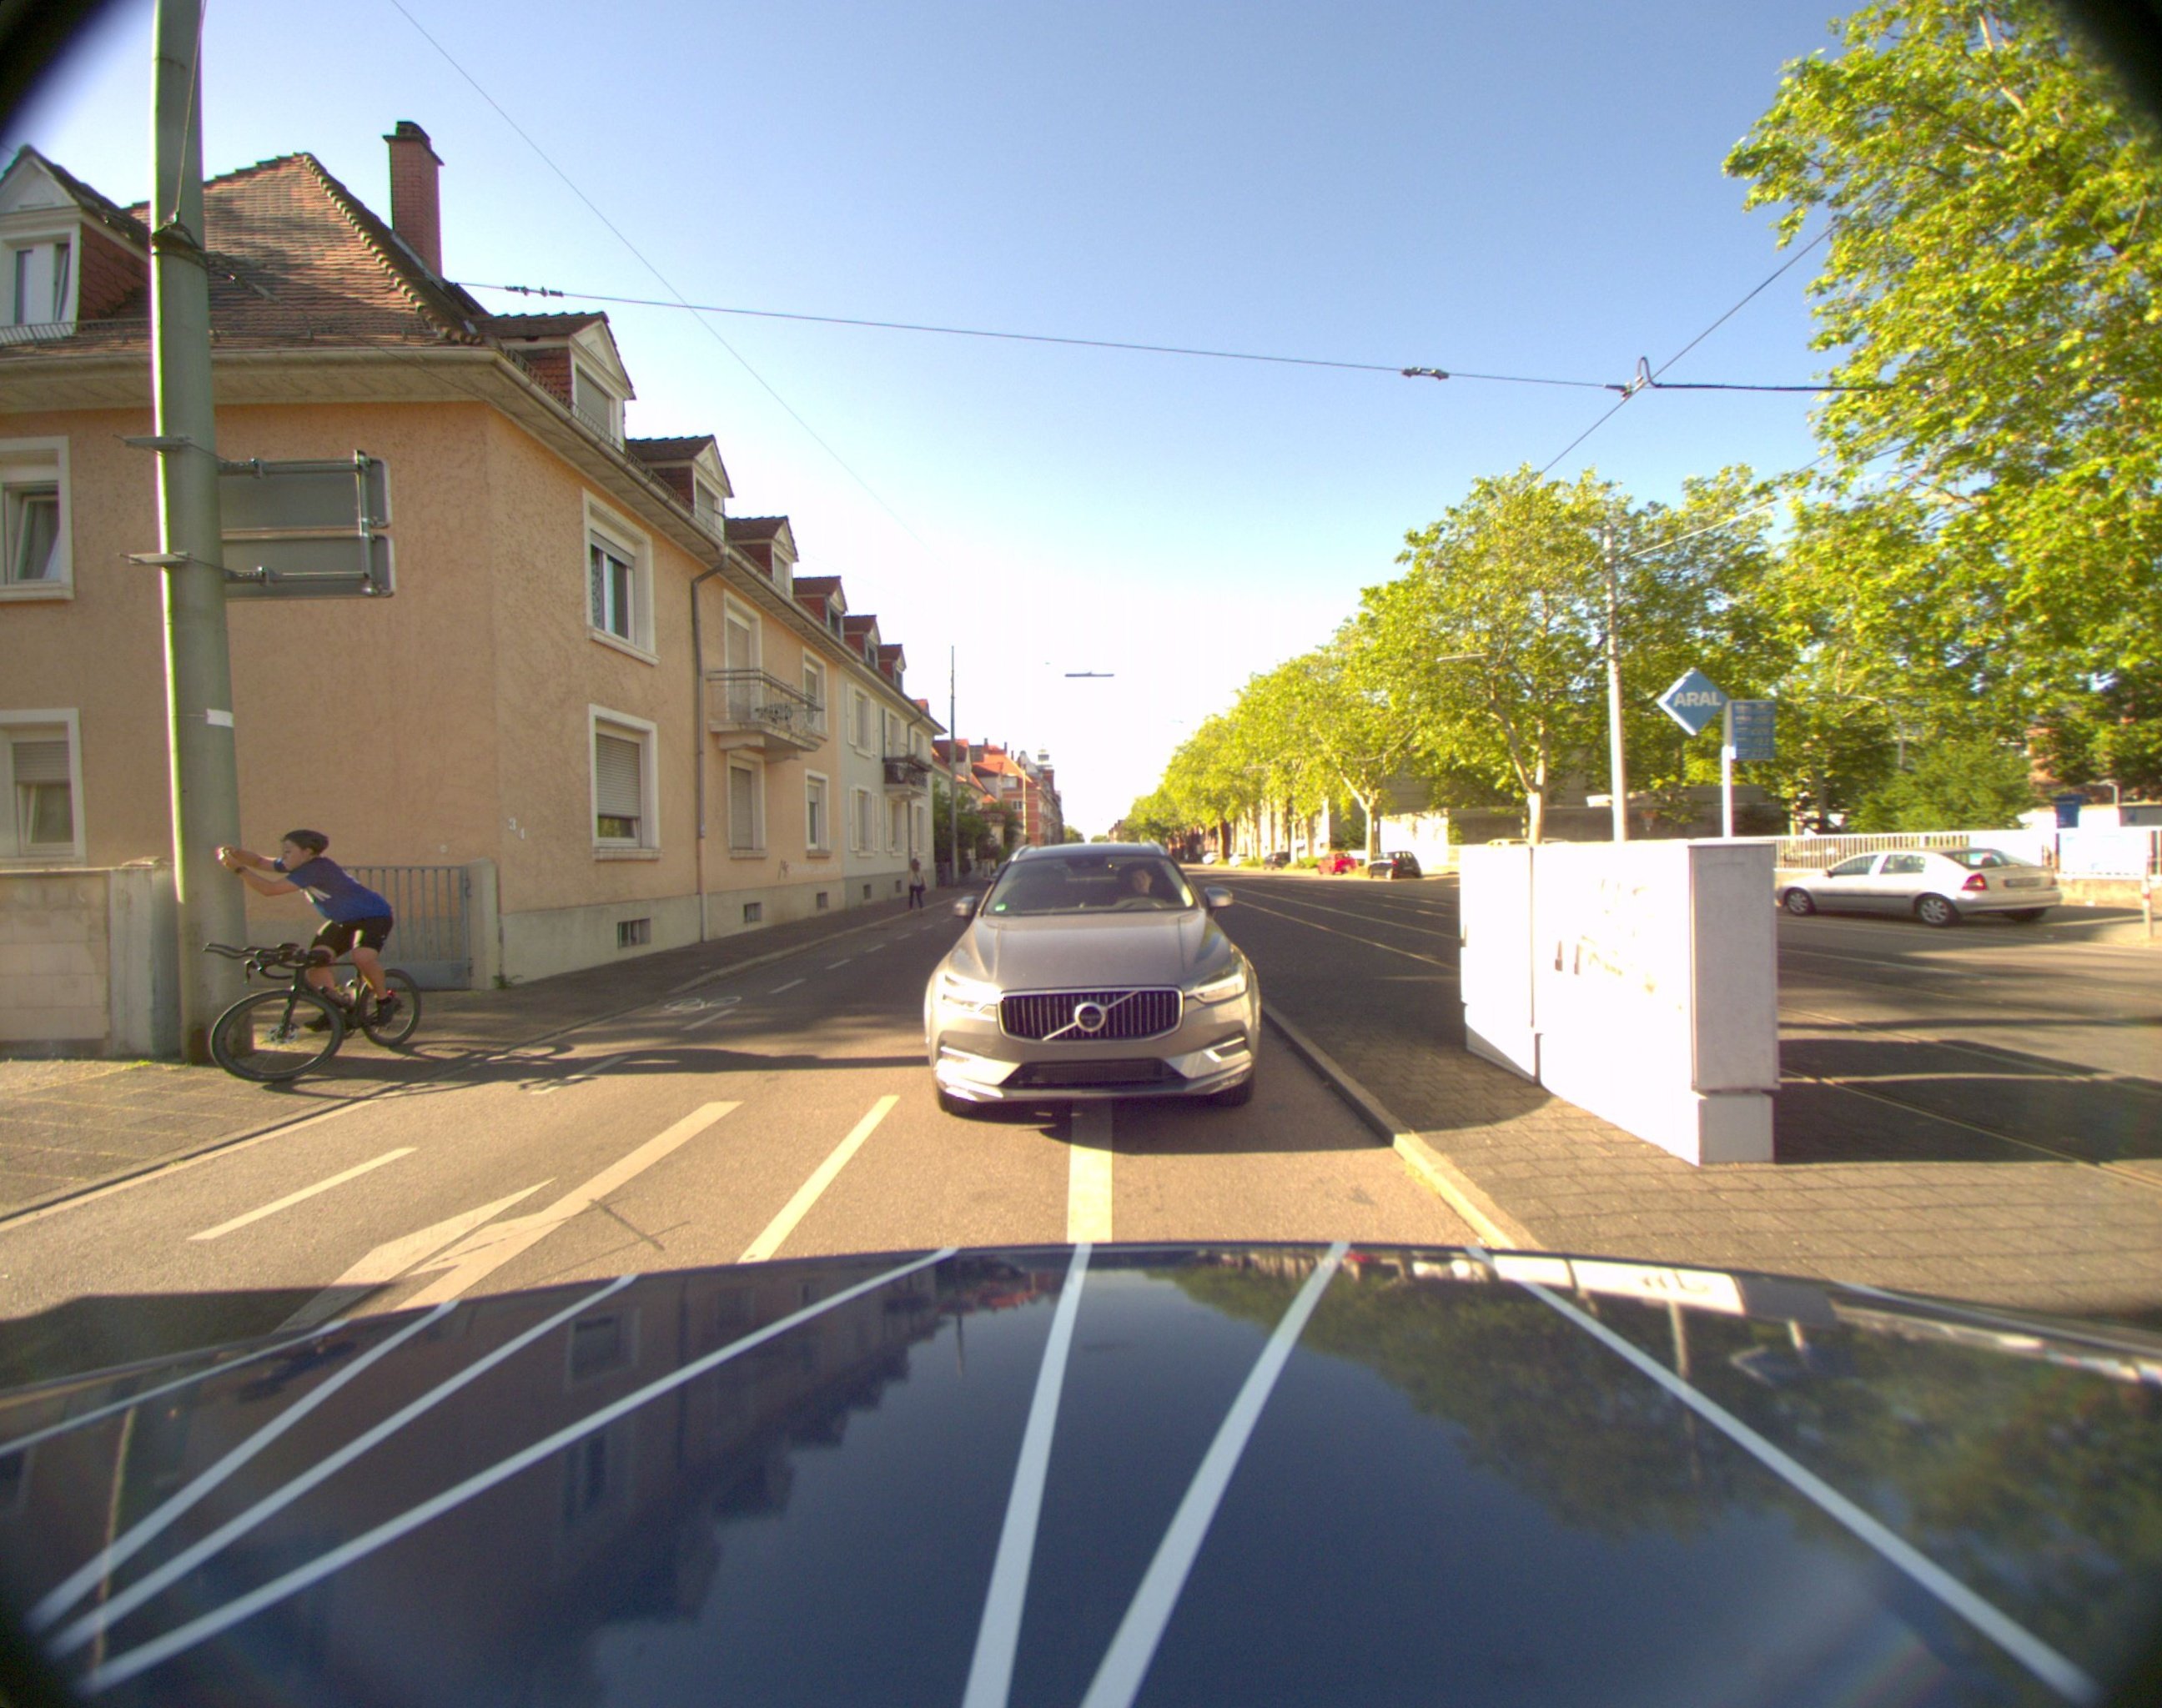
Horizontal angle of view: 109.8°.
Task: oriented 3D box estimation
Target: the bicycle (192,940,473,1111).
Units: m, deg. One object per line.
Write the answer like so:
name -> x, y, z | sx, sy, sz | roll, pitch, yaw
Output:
bicycle -> -5.935, 1.301, 6.184 | 0.572, 0.986, 1.698 | 2, 0, 1

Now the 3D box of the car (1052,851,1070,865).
car -> -2.198, 0.445, 85.500 | 1.875, 1.477, 4.000 | -1, 0, 1

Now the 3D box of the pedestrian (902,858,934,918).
pedestrian -> -4.667, 0.947, 21.774 | 0.695, 1.652, 1.098 | -2, 1, -5

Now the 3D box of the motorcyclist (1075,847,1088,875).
motorcyclist -> 0.031, 0.465, 51.529 | 0.827, 1.832, 1.159 | -2, 1, 1

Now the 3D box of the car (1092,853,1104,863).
car -> 2.906, 0.710, 130.272 | 1.998, 1.543, 4.000 | -1, 0, 1

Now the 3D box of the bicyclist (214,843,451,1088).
bicyclist -> -6.140, 0.861, 6.299 | 1.076, 1.854, 0.846 | 2, 1, 1

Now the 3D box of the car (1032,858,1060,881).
car -> -2.460, 1.081, 54.448 | 1.785, 1.468, 4.000 | -1, 0, 1

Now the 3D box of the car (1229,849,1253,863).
car -> 17.551, 0.213, 83.435 | 1.802, 1.489, 4.000 | -1, 0, 1

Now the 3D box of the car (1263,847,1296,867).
car -> 17.201, 0.278, 66.050 | 1.802, 1.652, 4.000 | -1, 0, 1

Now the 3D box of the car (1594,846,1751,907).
car -> 16.438, 0.570, 21.348 | 1.692, 1.455, 3.519 | -4, 0, 2

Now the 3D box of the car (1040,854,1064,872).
car -> -2.555, 0.763, 66.838 | 1.875, 1.477, 4.000 | -1, 0, 1

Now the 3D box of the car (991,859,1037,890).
car -> -3.204, 0.962, 37.034 | 1.647, 1.357, 3.868 | -1, 0, 4

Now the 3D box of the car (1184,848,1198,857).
car -> 18.200, -0.231, 125.637 | 1.802, 1.504, 4.000 | -1, 0, 1

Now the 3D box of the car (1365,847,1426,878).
car -> 16.889, 0.415, 40.989 | 1.826, 1.521, 3.653 | -2, 0, 1

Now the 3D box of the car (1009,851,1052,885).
car -> -2.782, 0.713, 42.893 | 1.751, 1.767, 5.351 | -1, 0, 3

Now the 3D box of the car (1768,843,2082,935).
car -> 16.252, 0.592, 15.000 | 1.795, 1.455, 3.966 | -4, 0, 2

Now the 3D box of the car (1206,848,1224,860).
car -> 17.738, -0.020, 100.680 | 1.802, 1.504, 4.000 | -1, 0, 1

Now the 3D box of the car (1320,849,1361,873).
car -> 16.949, 0.428, 49.758 | 1.641, 1.499, 3.046 | -1, 0, 1

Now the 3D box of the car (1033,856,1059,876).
car -> -2.745, 0.941, 60.684 | 1.785, 1.468, 4.000 | -1, 0, 1

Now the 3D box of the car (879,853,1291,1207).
car -> 0.049, 0.849, 5.810 | 1.940, 1.650, 4.321 | -1, 0, 1

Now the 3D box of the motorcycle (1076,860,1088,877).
motorcycle -> 0.056, 1.004, 51.704 | 0.792, 1.095, 2.519 | 0, 0, 1

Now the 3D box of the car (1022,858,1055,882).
car -> -2.677, 0.988, 48.312 | 1.785, 1.346, 4.000 | -1, 0, 1
